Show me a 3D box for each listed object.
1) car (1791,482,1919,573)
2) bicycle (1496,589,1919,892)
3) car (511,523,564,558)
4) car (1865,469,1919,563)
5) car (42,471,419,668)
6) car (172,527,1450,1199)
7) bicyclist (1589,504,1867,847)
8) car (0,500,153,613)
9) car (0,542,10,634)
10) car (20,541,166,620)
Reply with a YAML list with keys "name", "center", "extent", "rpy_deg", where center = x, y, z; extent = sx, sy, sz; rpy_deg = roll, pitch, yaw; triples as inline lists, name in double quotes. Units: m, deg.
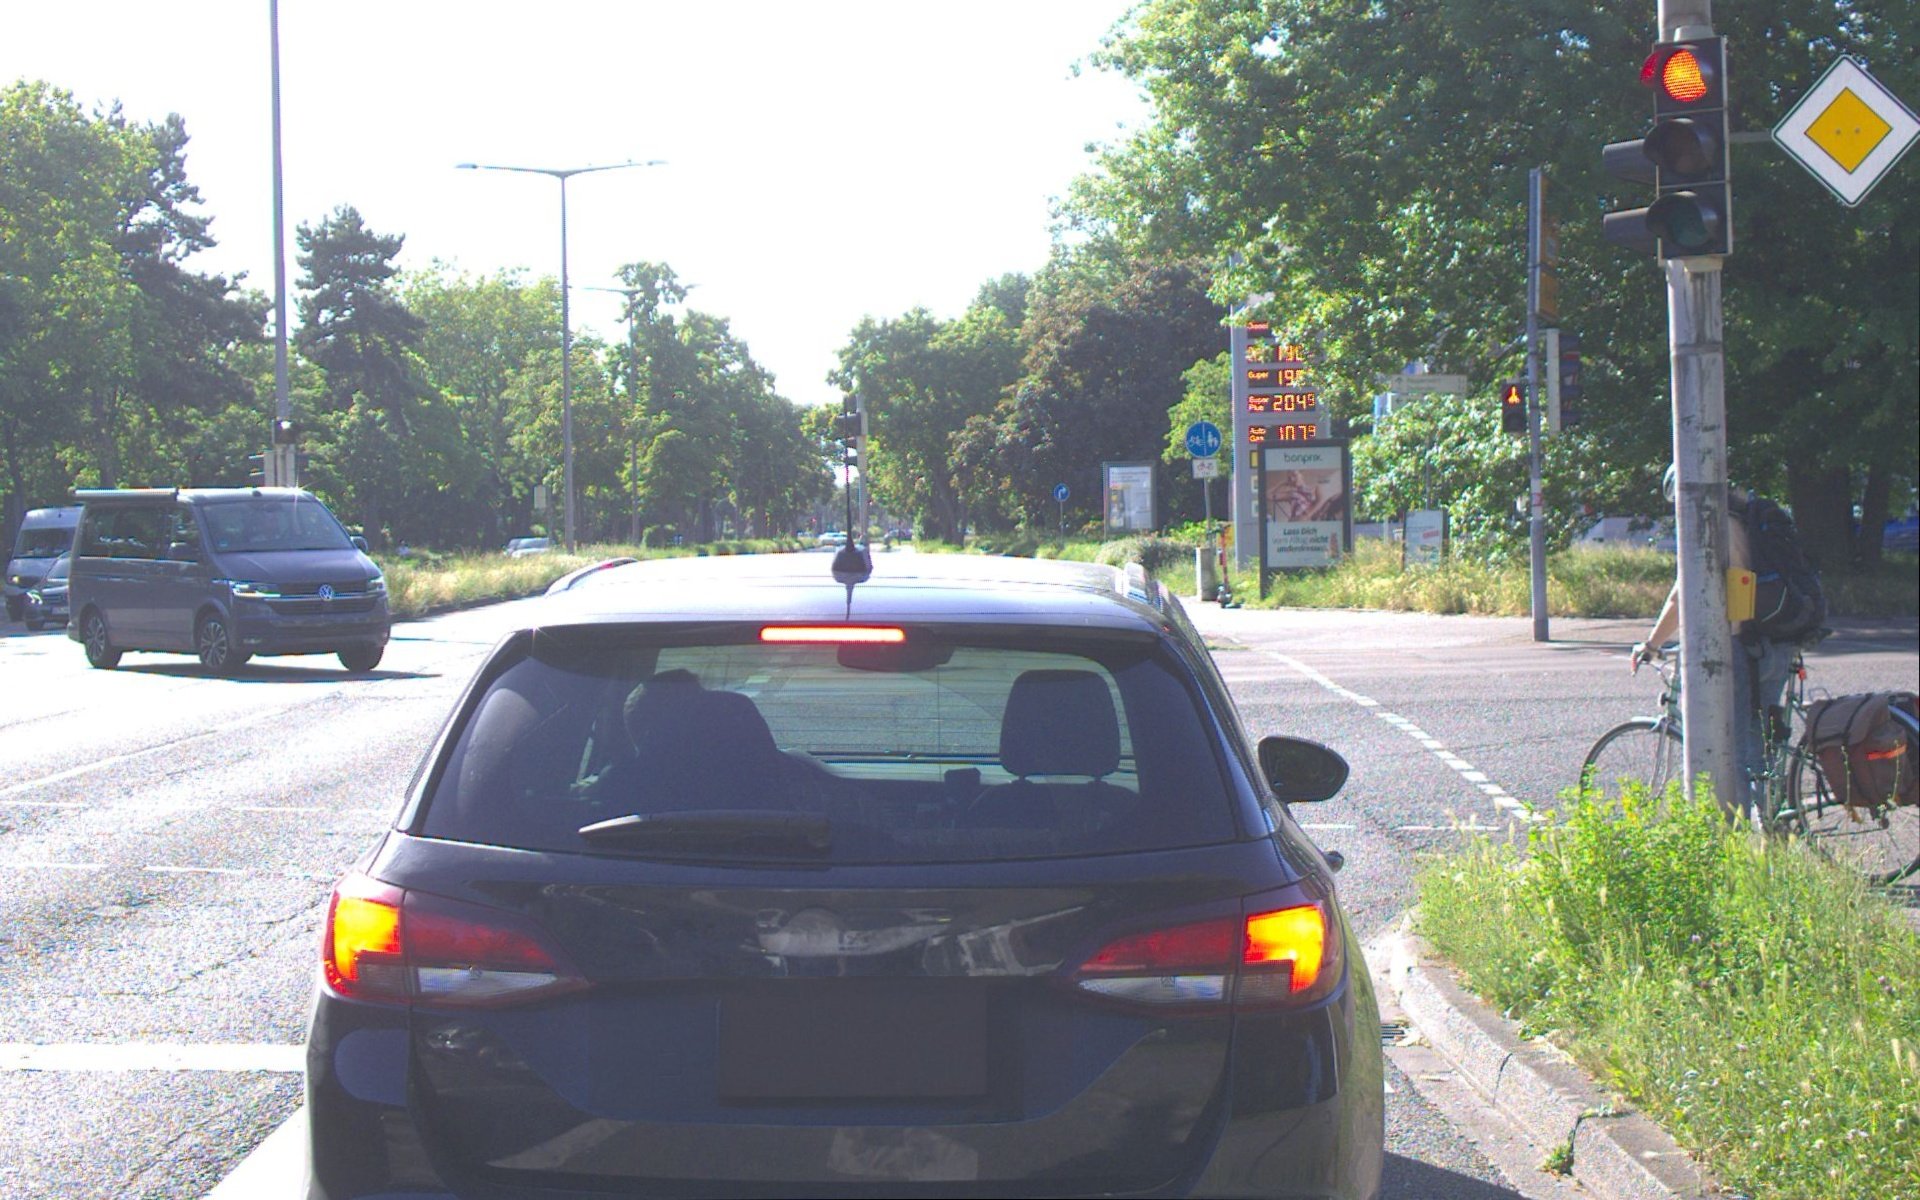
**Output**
- name: "car"
  center: [16.617, -1.285, 59.799]
  extent: [3.887, 1.512, 1.746]
  rpy_deg: [-2, 1, -23]
- name: "bicycle"
  center: [2.981, 0.539, 13.330]
  extent: [0.536, 1.094, 1.775]
  rpy_deg: [-3, 0, -44]
- name: "car"
  center: [-18.399, -2.600, 149.868]
  extent: [1.776, 1.458, 4.165]
  rpy_deg: [-1, 1, -1]
- name: "car"
  center: [17.093, -1.426, 56.713]
  extent: [3.887, 1.512, 1.746]
  rpy_deg: [-2, 1, -23]
- name: "car"
  center: [-8.010, -0.335, 37.424]
  extent: [1.912, 1.985, 5.013]
  rpy_deg: [-2, 1, -39]
- name: "car"
  center: [-0.230, 0.622, 6.843]
  extent: [1.756, 1.490, 4.207]
  rpy_deg: [0, 1, -1]
- name: "bicyclist"
  center: [2.972, 0.293, 13.327]
  extent: [0.536, 1.272, 0.829]
  rpy_deg: [-3, 0, -44]
- name: "car"
  center: [-20.464, -1.033, 79.730]
  extent: [2.100, 2.484, 6.004]
  rpy_deg: [-2, 1, -1]
- name: "car"
  center: [-16.754, -0.135, 54.969]
  extent: [1.888, 1.519, 4.504]
  rpy_deg: [-1, 1, -1]
- name: "car"
  center: [-16.890, -0.412, 67.153]
  extent: [1.686, 1.428, 4.615]
  rpy_deg: [-2, 1, -1]
